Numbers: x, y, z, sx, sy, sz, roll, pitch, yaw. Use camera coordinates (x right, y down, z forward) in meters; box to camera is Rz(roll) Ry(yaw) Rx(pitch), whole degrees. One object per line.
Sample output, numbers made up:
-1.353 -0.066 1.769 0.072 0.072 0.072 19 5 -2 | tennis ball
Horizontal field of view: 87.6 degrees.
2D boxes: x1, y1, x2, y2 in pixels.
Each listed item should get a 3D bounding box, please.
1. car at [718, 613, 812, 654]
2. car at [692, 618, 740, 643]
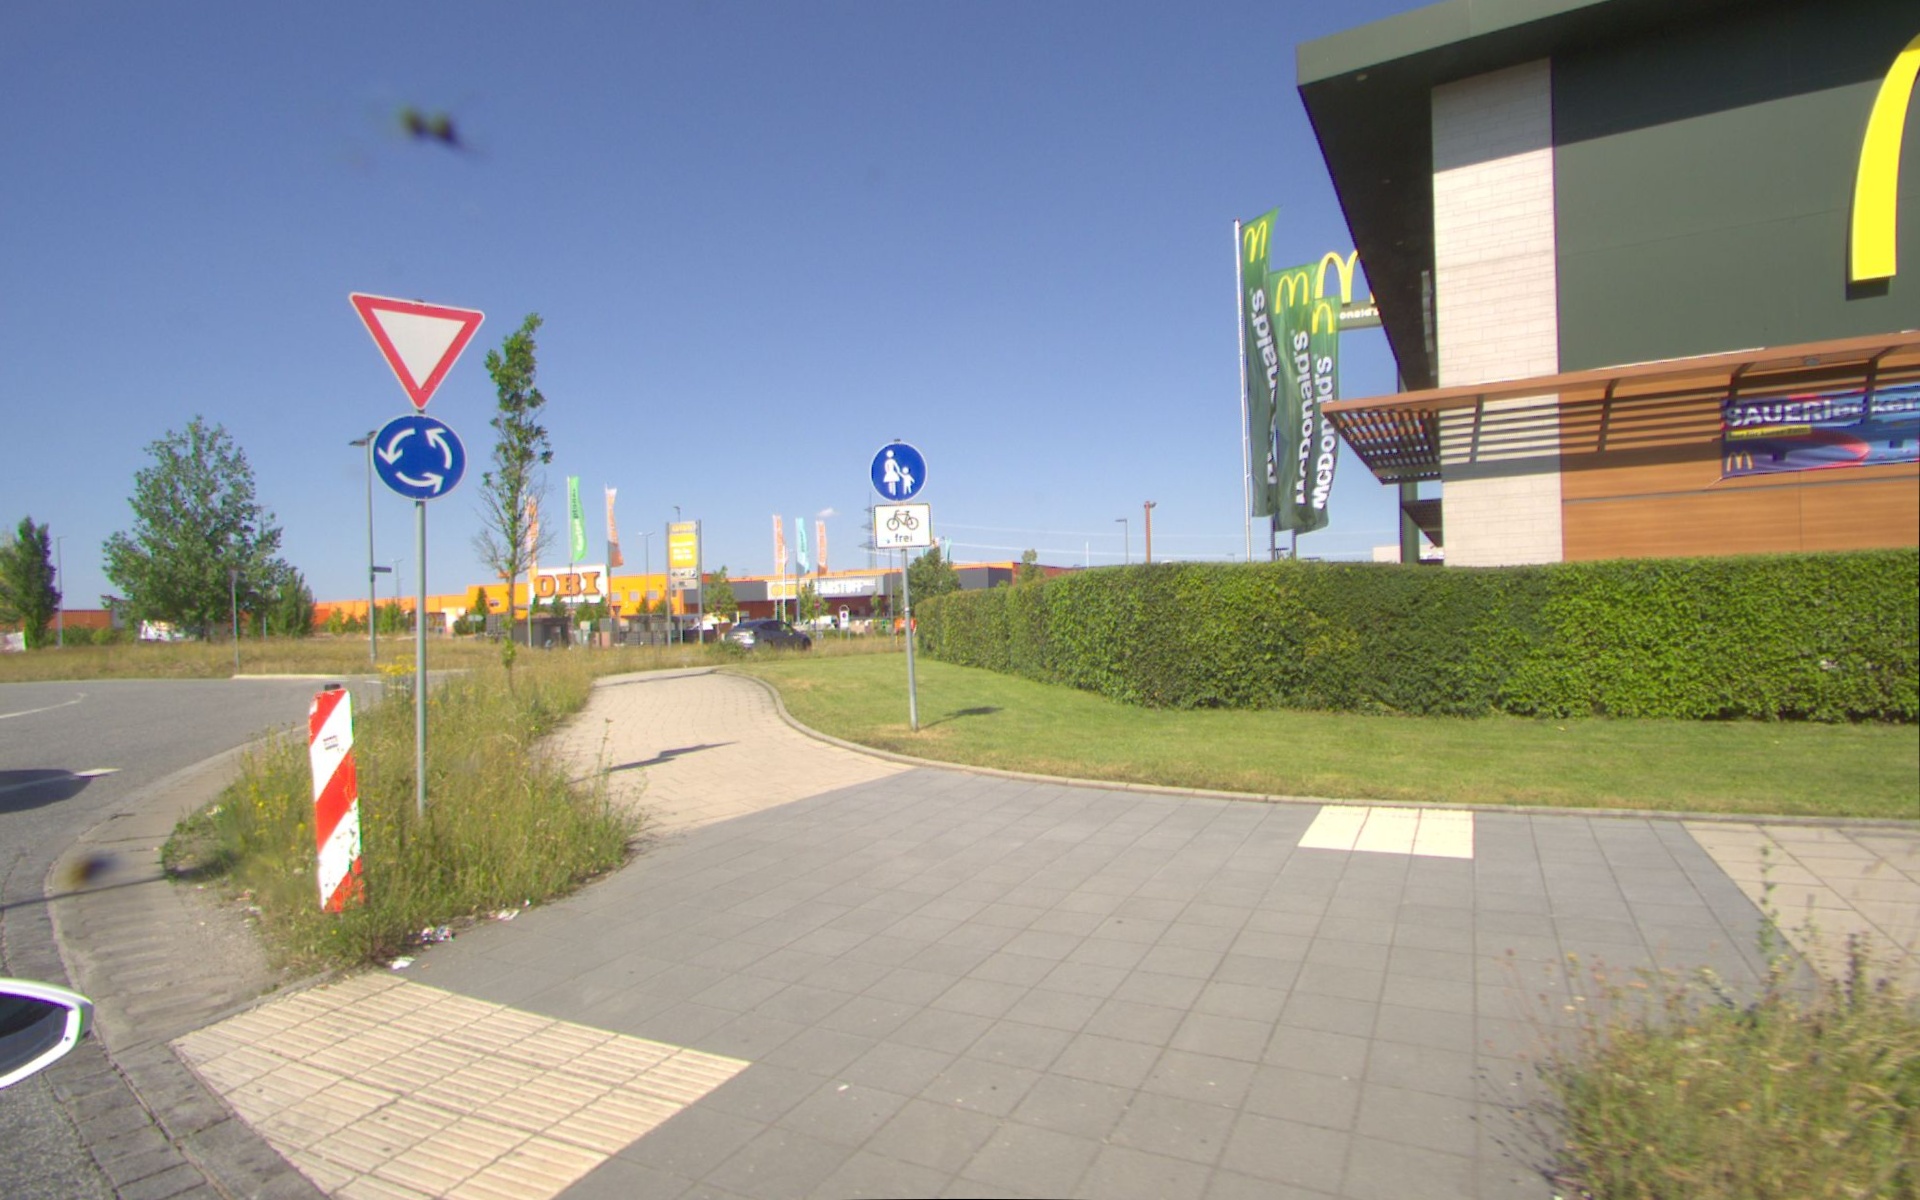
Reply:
-8.323 1.393 43.028 1.803 1.605 4.152 -2 -1 26 | car
-18.712 2.384 76.997 1.672 1.864 3.766 -2 -3 23 | car
